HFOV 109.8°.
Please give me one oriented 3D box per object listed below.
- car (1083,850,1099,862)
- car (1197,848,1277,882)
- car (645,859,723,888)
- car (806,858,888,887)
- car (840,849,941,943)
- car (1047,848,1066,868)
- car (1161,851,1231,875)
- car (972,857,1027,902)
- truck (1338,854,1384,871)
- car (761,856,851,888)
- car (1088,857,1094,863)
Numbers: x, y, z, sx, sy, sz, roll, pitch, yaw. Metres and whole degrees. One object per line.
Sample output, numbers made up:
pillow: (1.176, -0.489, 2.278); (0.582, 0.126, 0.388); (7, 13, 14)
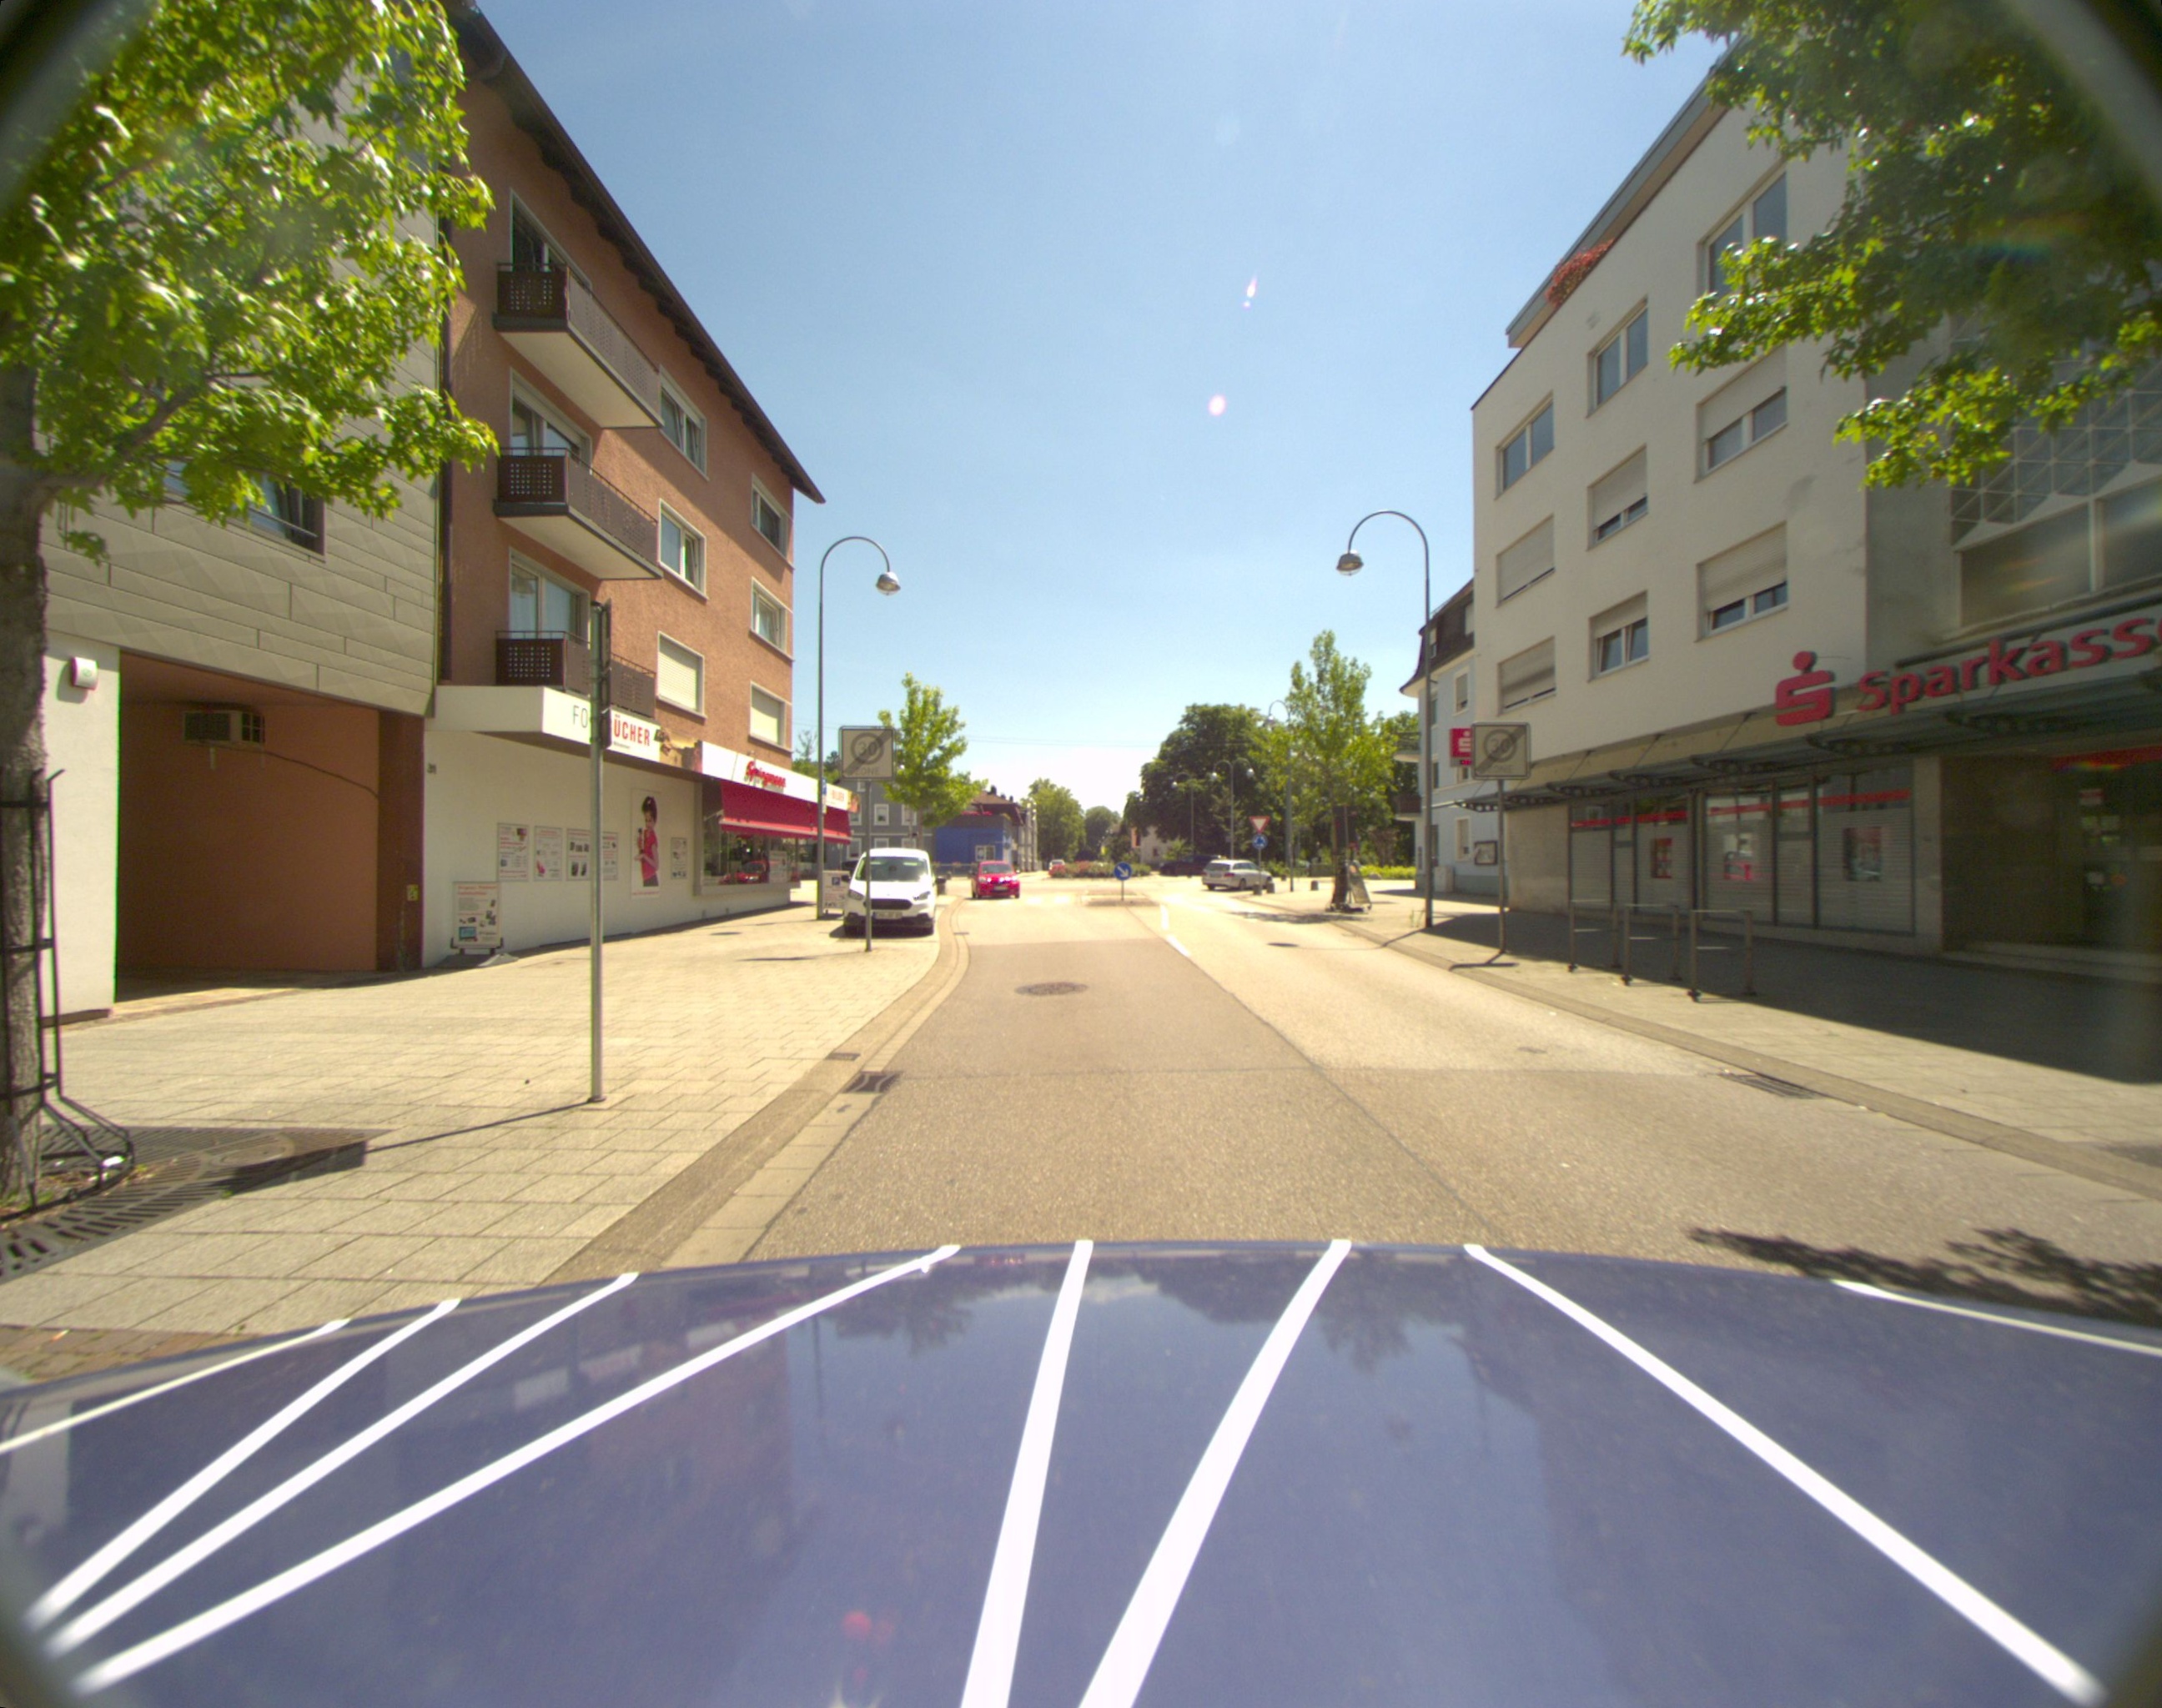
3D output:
car: (1.563, 0.400, 120.503); (2.000, 1.552, 4.165); (6, -3, -6)
car: (7.908, 0.518, 38.188); (1.994, 1.583, 5.009); (0, 0, 37)
car: (-26.819, 1.295, 51.522); (4.289, 1.576, 1.996); (-2, 4, -15)
car: (-12.971, 1.063, 42.310); (3.997, 1.554, 1.805); (0, -2, 0)
car: (-3.855, 0.776, 15.938); (1.753, 1.714, 3.906); (0, 0, -10)
car: (-2.642, 0.465, 84.182); (1.999, 2.001, 4.001); (0, -2, 0)
car: (8.133, 0.669, 53.792); (4.608, 1.575, 1.952); (-1, -2, 21)
car: (-3.389, 0.968, 31.040); (1.835, 1.524, 3.995); (-4, 2, -10)
truck: (42.437, 1.277, 115.190); (6.201, 2.428, 2.270); (-2, -3, 32)
car: (-16.138, 1.032, 44.751); (4.523, 1.678, 1.999); (-2, 1, -1)
car: (3.487, 2.121, 261.236); (1.739, 1.695, 4.000); (-2, -2, -3)
